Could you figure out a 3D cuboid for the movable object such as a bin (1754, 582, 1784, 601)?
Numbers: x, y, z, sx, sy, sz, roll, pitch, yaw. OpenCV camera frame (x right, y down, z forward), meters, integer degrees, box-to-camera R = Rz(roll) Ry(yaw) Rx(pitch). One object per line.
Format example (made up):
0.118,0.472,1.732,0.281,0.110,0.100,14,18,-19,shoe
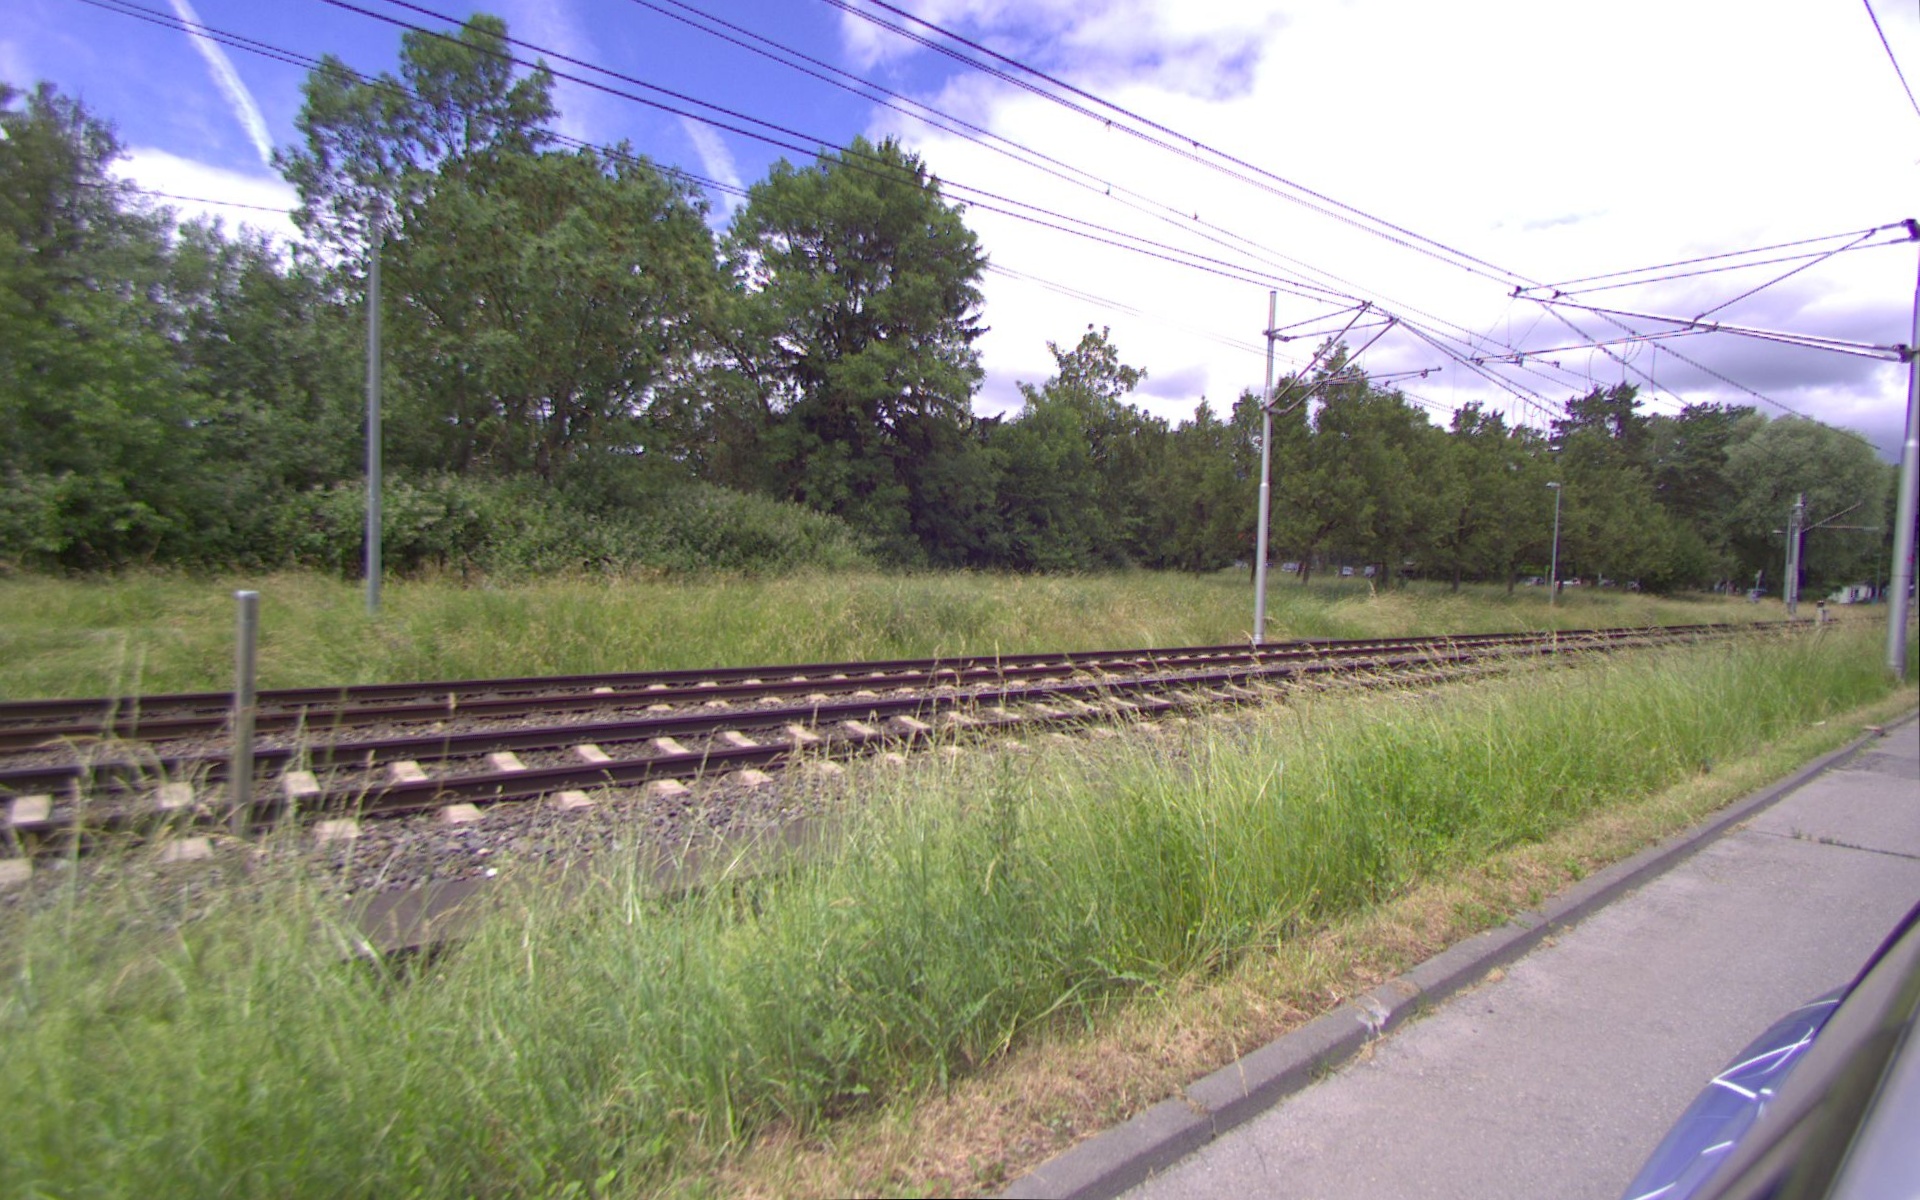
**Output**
60.860,-0.618,76.131,1.612,1.326,0.660,2,3,1,movable object such as a bin

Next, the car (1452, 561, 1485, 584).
42.774,-2.296,85.147,1.740,1.825,3.947,3,3,37,car

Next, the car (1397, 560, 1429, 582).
39.688,-2.566,88.659,1.740,1.825,3.947,3,3,37,car

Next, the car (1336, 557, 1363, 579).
35.542,-2.916,92.270,1.979,1.834,3.968,3,3,24,car

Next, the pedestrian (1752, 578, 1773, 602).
60.371,-0.759,76.147,0.940,1.687,0.658,2,2,1,pedestrian
